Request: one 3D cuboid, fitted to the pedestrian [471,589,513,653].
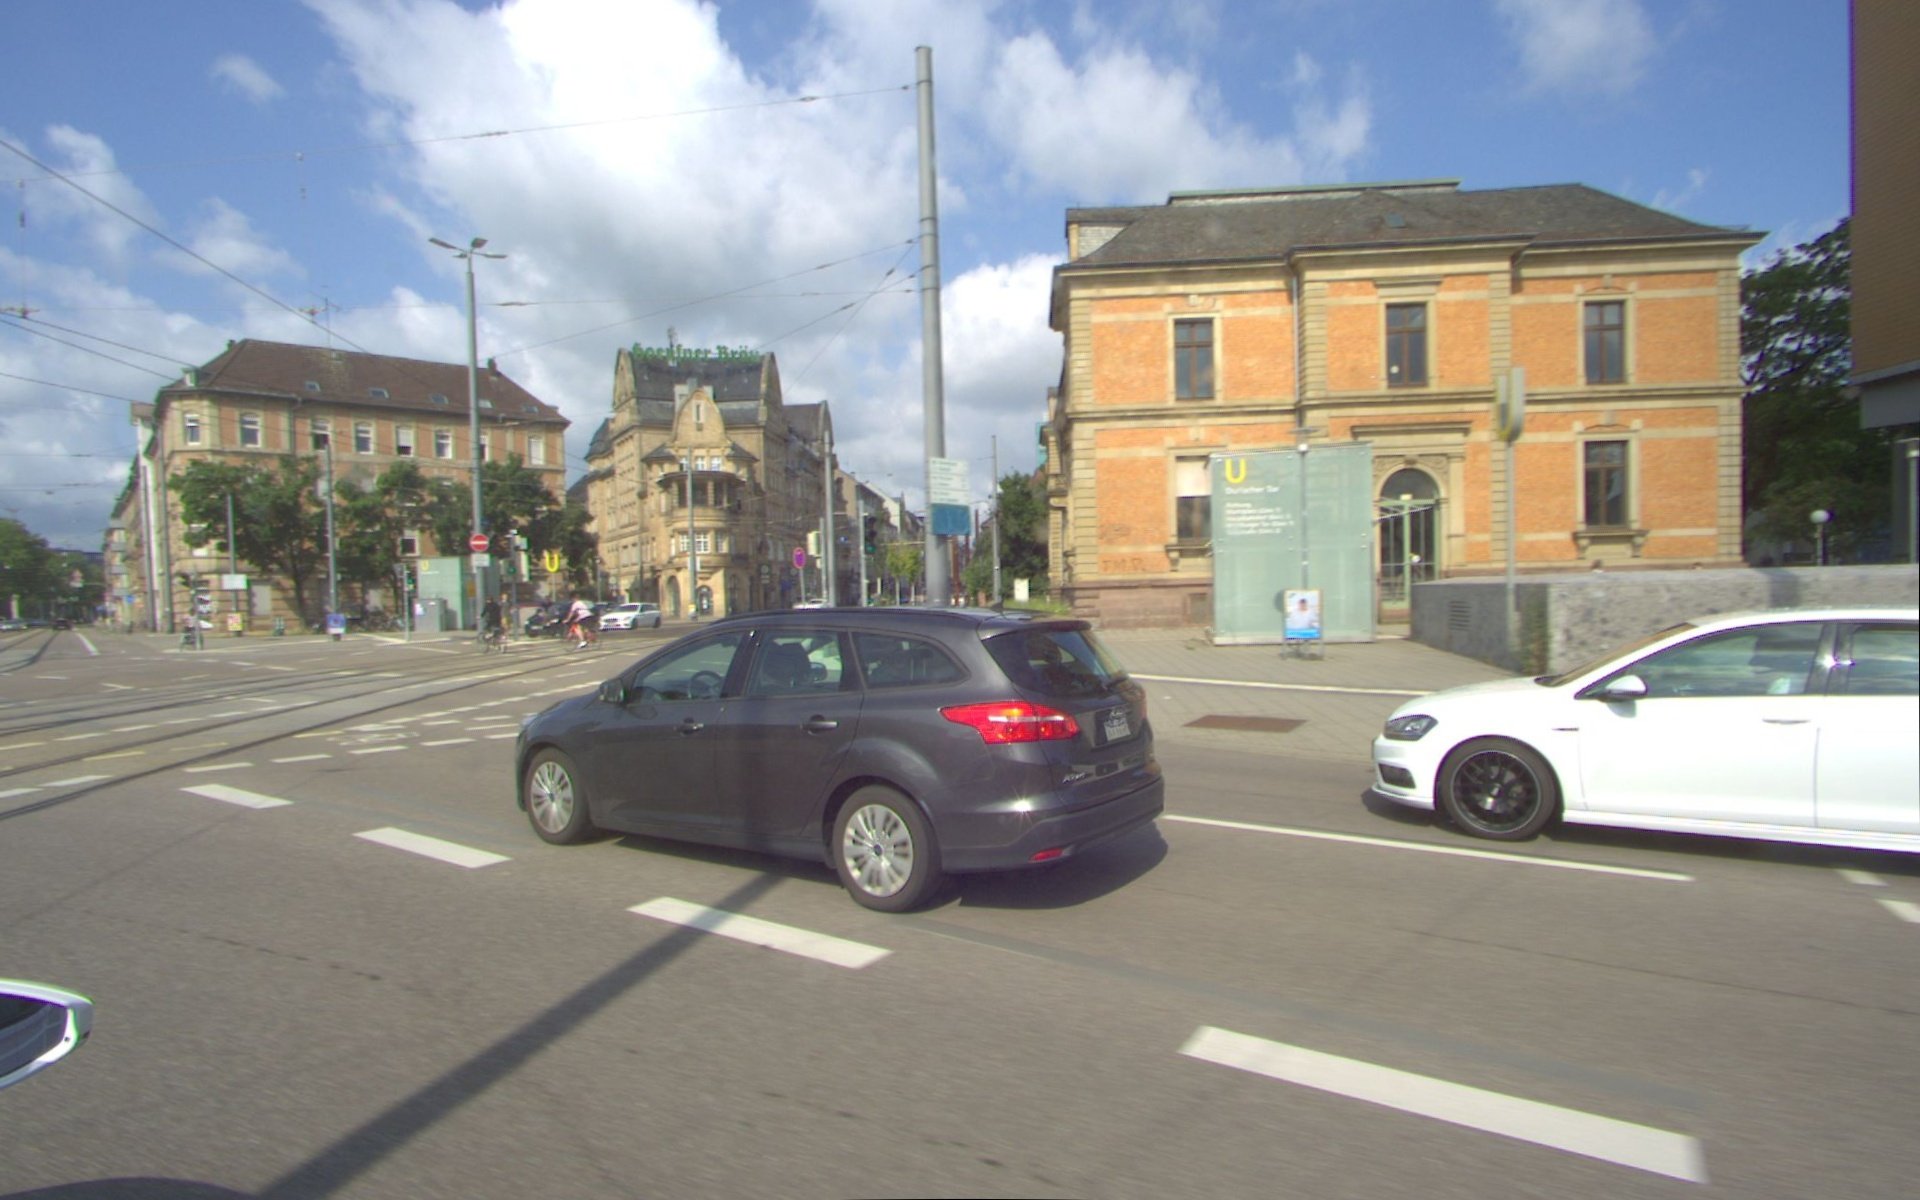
[{"bbox_3d":[-13.882,0.640,29.687,0.982,1.864,0.991,2,-2,-31],"label":"pedestrian"}]

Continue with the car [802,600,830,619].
[{"bbox_3d":[-13.816,0.932,95.976,1.815,1.682,4.002,1,-2,4],"label":"car"}]

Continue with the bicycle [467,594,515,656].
[{"bbox_3d":[-14.020,0.771,29.876,0.995,1.747,2.456,2,-2,-31],"label":"bicycle"}]

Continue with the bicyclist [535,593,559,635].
[{"bbox_3d":[-16.678,0.573,40.433,0.646,1.692,0.572,0,-2,30],"label":"bicyclist"}]

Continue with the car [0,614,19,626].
[{"bbox_3d":[-119.458,2.512,125.514,1.981,1.350,3.959,-2,1,-45],"label":"car"}]

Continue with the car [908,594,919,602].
[{"bbox_3d":[-9.316,-0.473,200.604,1.815,1.559,3.821,-1,1,4],"label":"car"}]

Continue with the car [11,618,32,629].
[{"bbox_3d":[-127.445,3.171,135.957,1.981,1.510,3.960,2,-2,-44],"label":"car"}]

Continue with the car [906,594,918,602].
[{"bbox_3d":[-9.062,-0.408,191.053,1.815,1.559,3.821,-1,1,4],"label":"car"}]

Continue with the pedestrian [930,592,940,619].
[{"bbox_3d":[-1.394,0.314,56.262,0.497,1.525,0.499,-1,1,-1],"label":"pedestrian"}]

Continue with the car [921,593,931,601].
[{"bbox_3d":[-7.736,-0.667,225.687,1.815,1.559,3.821,-1,1,4],"label":"car"}]

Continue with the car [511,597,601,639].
[{"bbox_3d":[-18.380,0.868,45.817,1.961,1.761,4.343,1,-3,6],"label":"car"}]

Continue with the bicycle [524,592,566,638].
[{"bbox_3d":[-16.777,0.617,40.490,1.613,1.800,0.729,0,-2,30],"label":"bicycle"}]

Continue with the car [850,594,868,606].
[{"bbox_3d":[-14.036,0.026,139.681,1.816,1.559,3.821,-1,1,4],"label":"car"}]

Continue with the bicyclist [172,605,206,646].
[{"bbox_3d":[-32.146,1.073,41.741,0.772,1.680,1.194,0,0,-19],"label":"bicyclist"}]

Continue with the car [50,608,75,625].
[{"bbox_3d":[-108.813,1.972,121.408,1.976,2.041,3.968,-2,1,-38],"label":"car"}]

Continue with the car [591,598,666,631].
[{"bbox_3d":[-17.325,0.743,52.607,1.961,1.617,4.684,0,0,7],"label":"car"}]

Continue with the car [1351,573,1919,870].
[{"bbox_3d":[4.771,0.664,6.068,4.173,1.464,1.676,2,-3,35],"label":"car"}]

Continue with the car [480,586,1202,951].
[{"bbox_3d":[-0.844,0.716,6.096,4.193,1.549,1.764,0,1,32],"label":"car"}]

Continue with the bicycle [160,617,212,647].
[{"bbox_3d":[-32.090,1.326,41.562,0.885,1.185,2.674,0,-1,-19],"label":"bicycle"}]

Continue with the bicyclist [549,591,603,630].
[{"bbox_3d":[-11.361,0.330,29.630,1.198,1.039,0.989,-3,-5,33],"label":"bicyclist"}]

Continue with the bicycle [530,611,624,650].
[{"bbox_3d":[-11.330,0.919,29.577,3.066,1.040,0.991,-3,-5,33],"label":"bicycle"}]

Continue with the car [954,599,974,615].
[{"bbox_3d":[0.448,0.816,111.152,1.722,1.548,4.003,2,-3,6],"label":"car"}]
